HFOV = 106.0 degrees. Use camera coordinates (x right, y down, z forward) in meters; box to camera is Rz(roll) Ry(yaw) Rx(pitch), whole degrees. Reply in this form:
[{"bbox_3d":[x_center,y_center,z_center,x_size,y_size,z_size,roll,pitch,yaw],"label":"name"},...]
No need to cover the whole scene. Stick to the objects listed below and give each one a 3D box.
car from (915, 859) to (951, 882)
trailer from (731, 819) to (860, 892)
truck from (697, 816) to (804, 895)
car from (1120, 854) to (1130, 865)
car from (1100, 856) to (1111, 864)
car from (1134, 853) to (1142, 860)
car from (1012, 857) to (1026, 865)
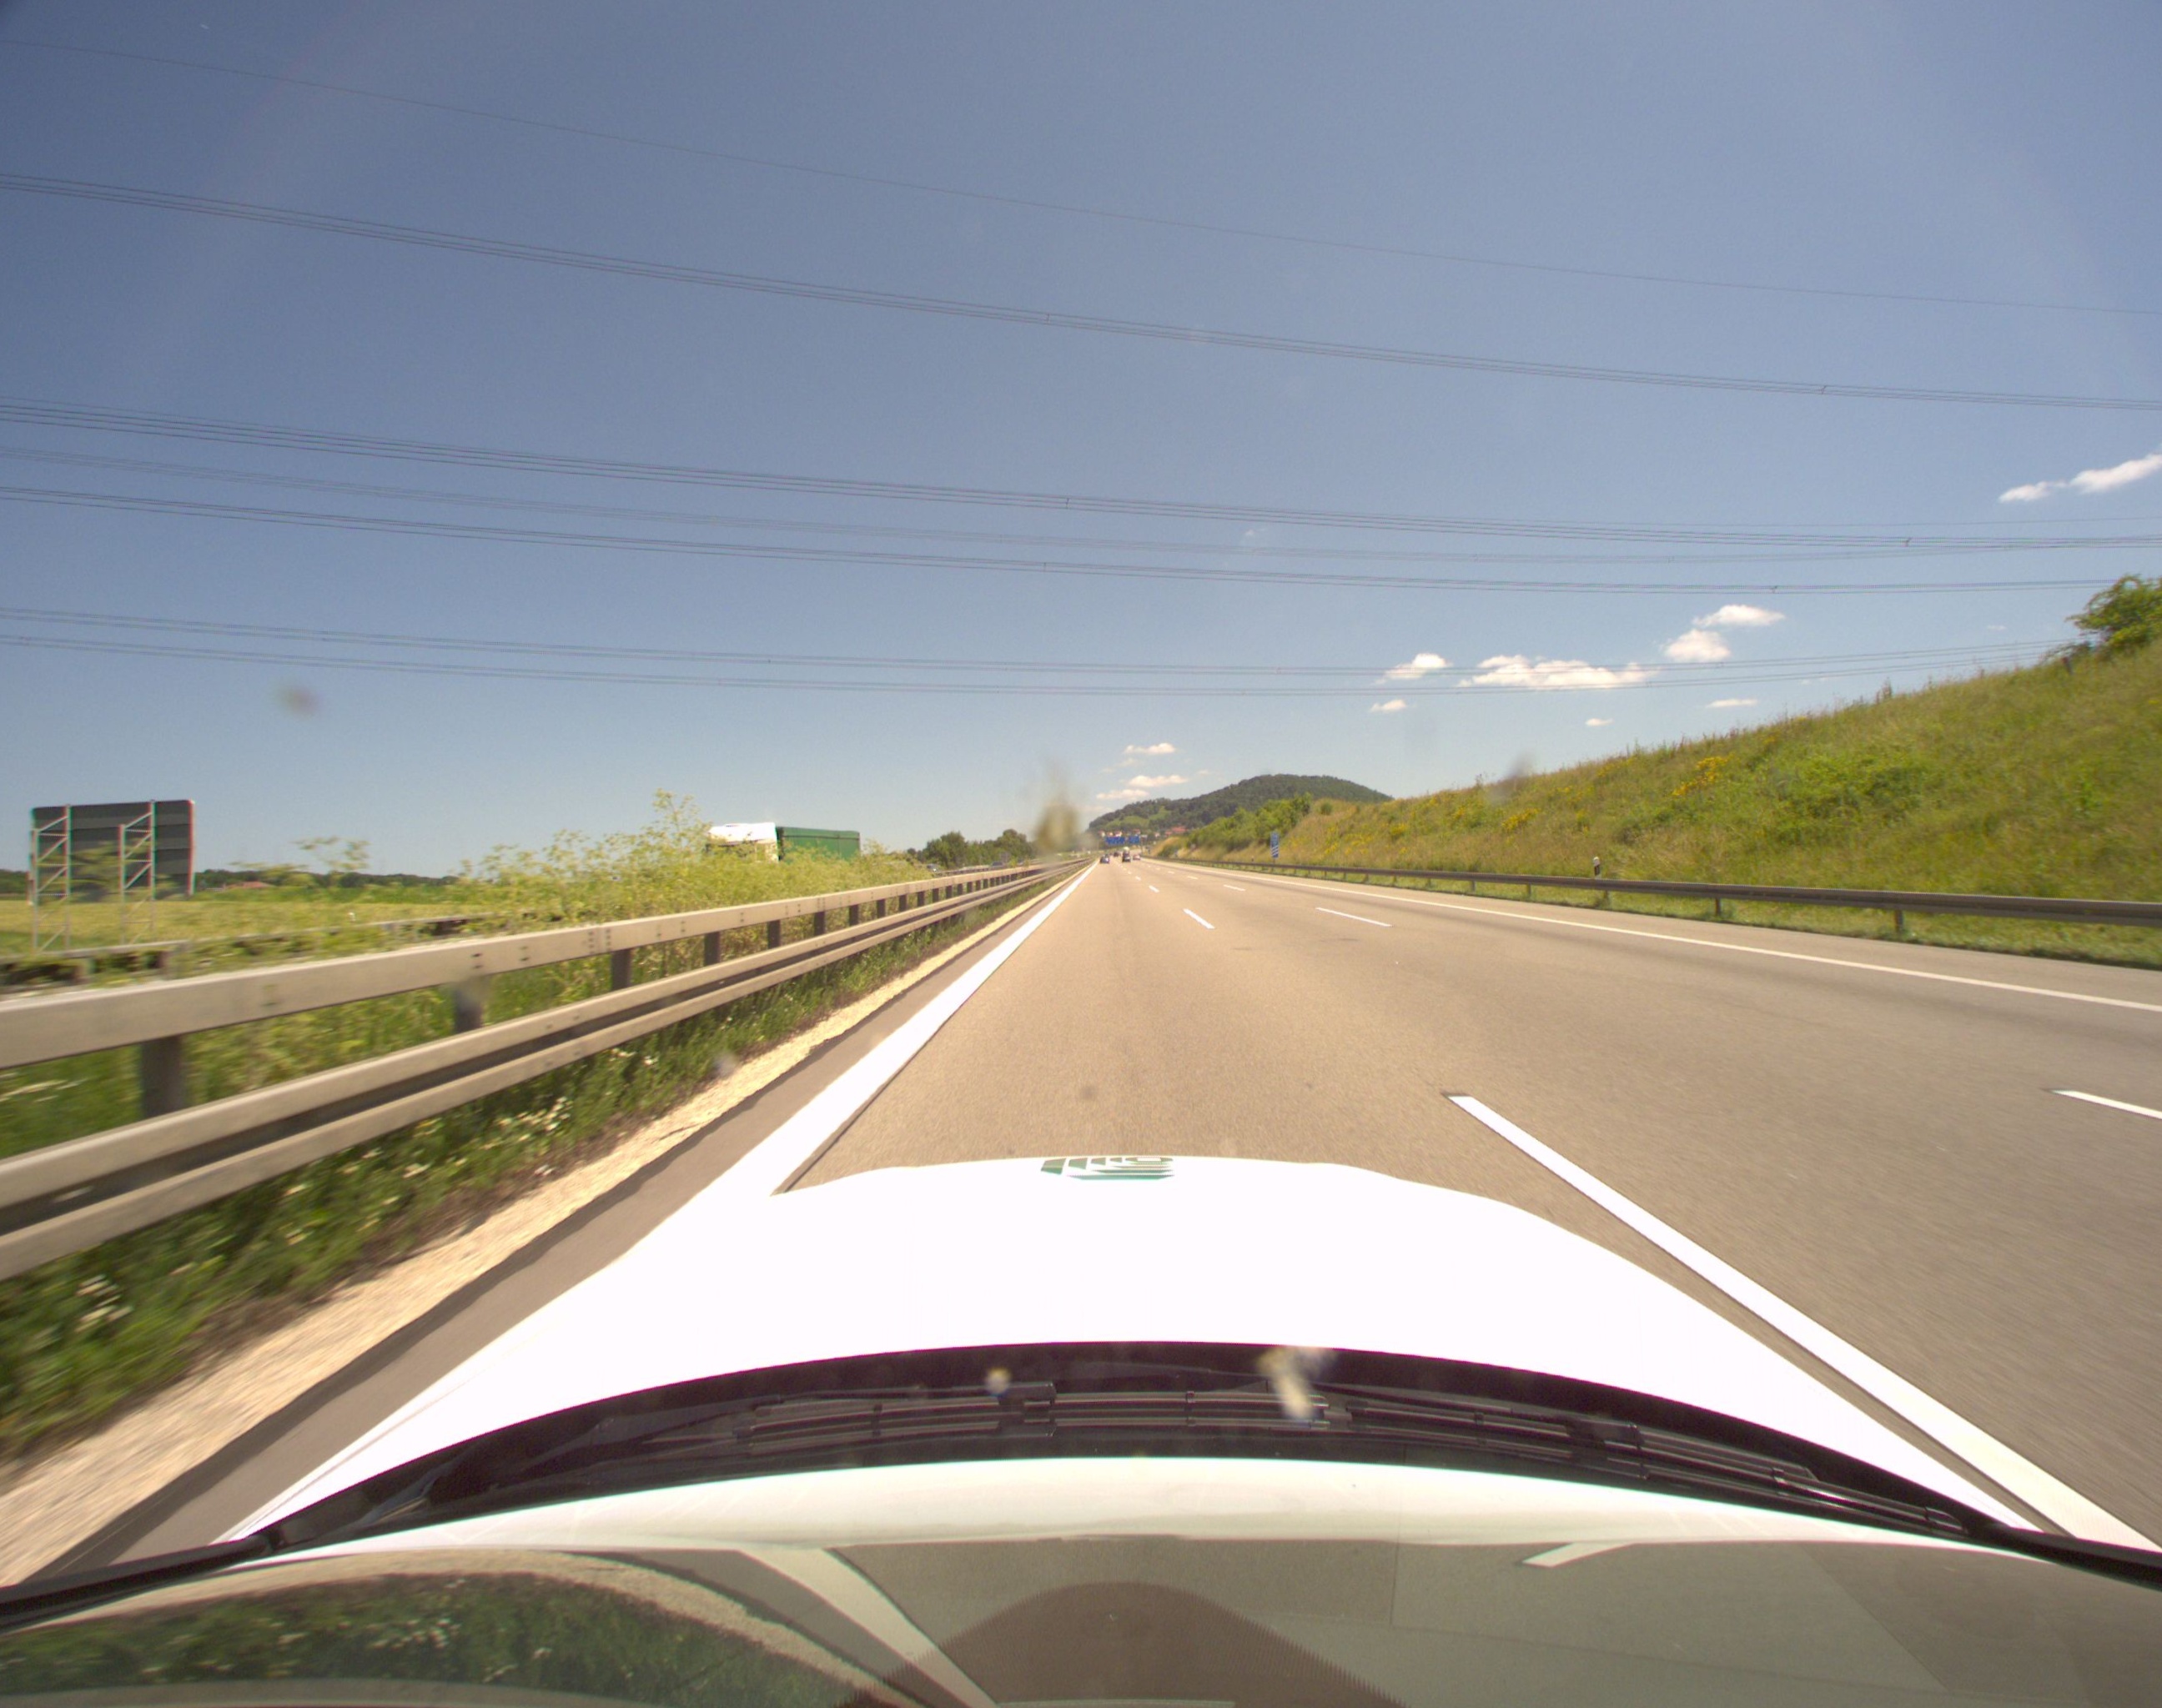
[{"bbox_3d":[-10.755,1.194,59.440,1.628,1.465,4.002,-4,0,2],"label":"car"},{"bbox_3d":[-15.775,0.135,46.411,2.744,3.594,12.538,0,-1,1],"label":"trailer"},{"bbox_3d":[-15.902,0.088,39.716,2.714,3.559,5.901,0,-1,1],"label":"truck"},{"bbox_3d":[8.673,1.083,160.220,1.986,2.014,4.002,0,-1,2],"label":"car"},{"bbox_3d":[4.411,1.128,146.314,1.986,1.389,4.002,0,-1,2],"label":"car"},{"bbox_3d":[14.761,0.698,210.196,1.986,1.818,4.002,-2,0,2],"label":"car"},{"bbox_3d":[-11.199,1.241,147.067,1.940,1.543,4.287,0,-1,2],"label":"car"}]
